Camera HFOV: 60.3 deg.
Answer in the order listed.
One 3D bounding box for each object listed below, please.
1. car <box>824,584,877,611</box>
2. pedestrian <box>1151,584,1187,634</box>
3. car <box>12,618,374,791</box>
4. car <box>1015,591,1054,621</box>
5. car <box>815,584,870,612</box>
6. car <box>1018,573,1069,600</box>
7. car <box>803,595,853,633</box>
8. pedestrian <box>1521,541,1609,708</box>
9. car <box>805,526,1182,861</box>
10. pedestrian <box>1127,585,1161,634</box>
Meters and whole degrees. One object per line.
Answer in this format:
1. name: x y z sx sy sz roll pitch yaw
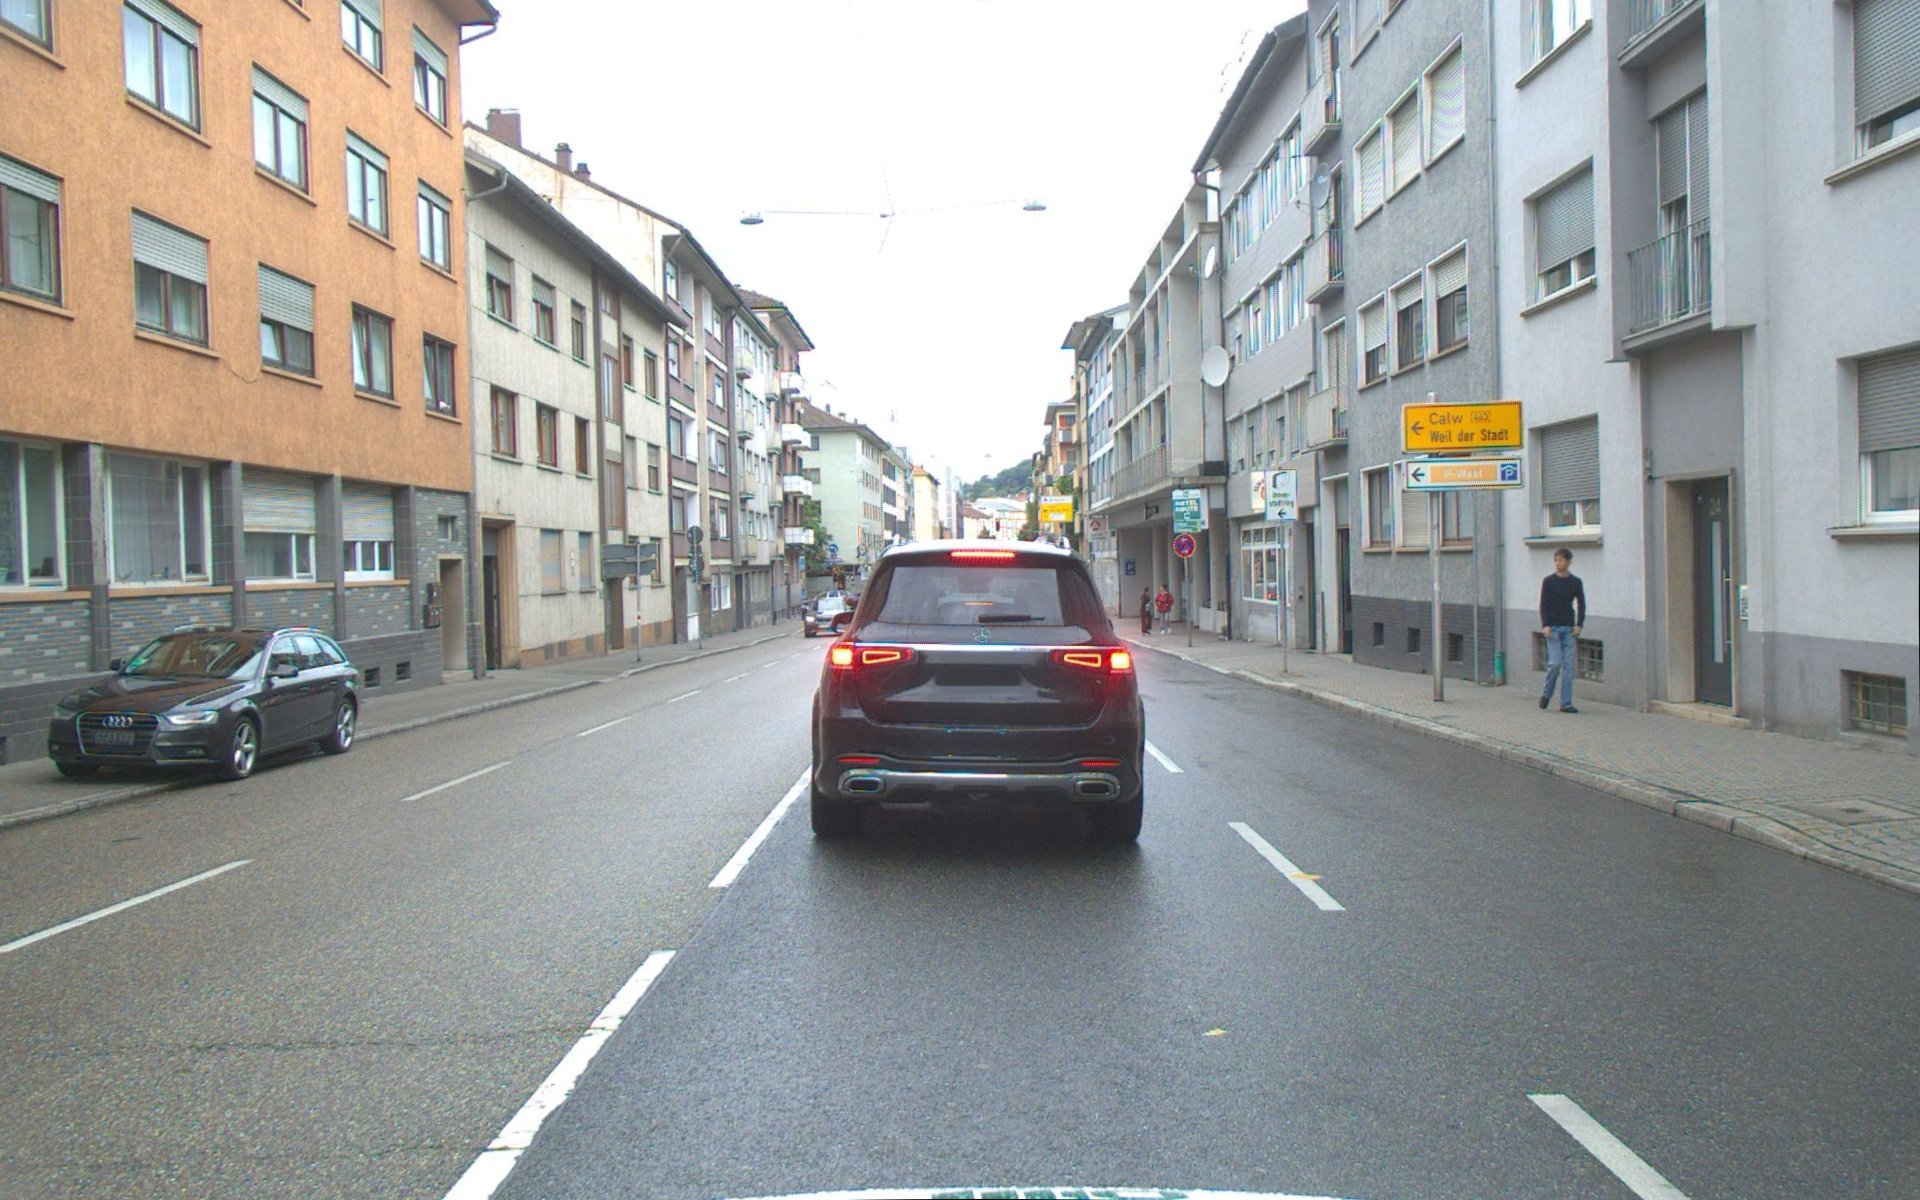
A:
1. car: -8.483 -0.206 128.490 3.904 2.049 2.001 0 1 3
2. pedestrian: 6.841 0.282 54.114 0.807 1.592 0.896 0 1 38
3. car: -7.937 0.992 17.664 1.853 1.484 4.548 0 1 -2
4. car: 3.690 0.258 82.499 1.699 1.412 4.582 0 1 -1
5. car: -8.705 -0.124 122.909 3.904 2.049 2.001 0 1 3
6. car: 6.483 -1.060 128.844 3.904 2.049 2.001 0 1 3
7. car: -5.432 0.548 68.467 1.853 1.484 4.548 0 1 -2
8. pedestrian: 6.702 0.265 18.351 0.642 1.782 0.742 -4 0 5
9. car: 0.142 0.458 11.229 2.034 1.796 4.610 0 1 -1
10. pedestrian: 6.017 0.298 54.099 0.808 1.592 0.894 0 1 -19
